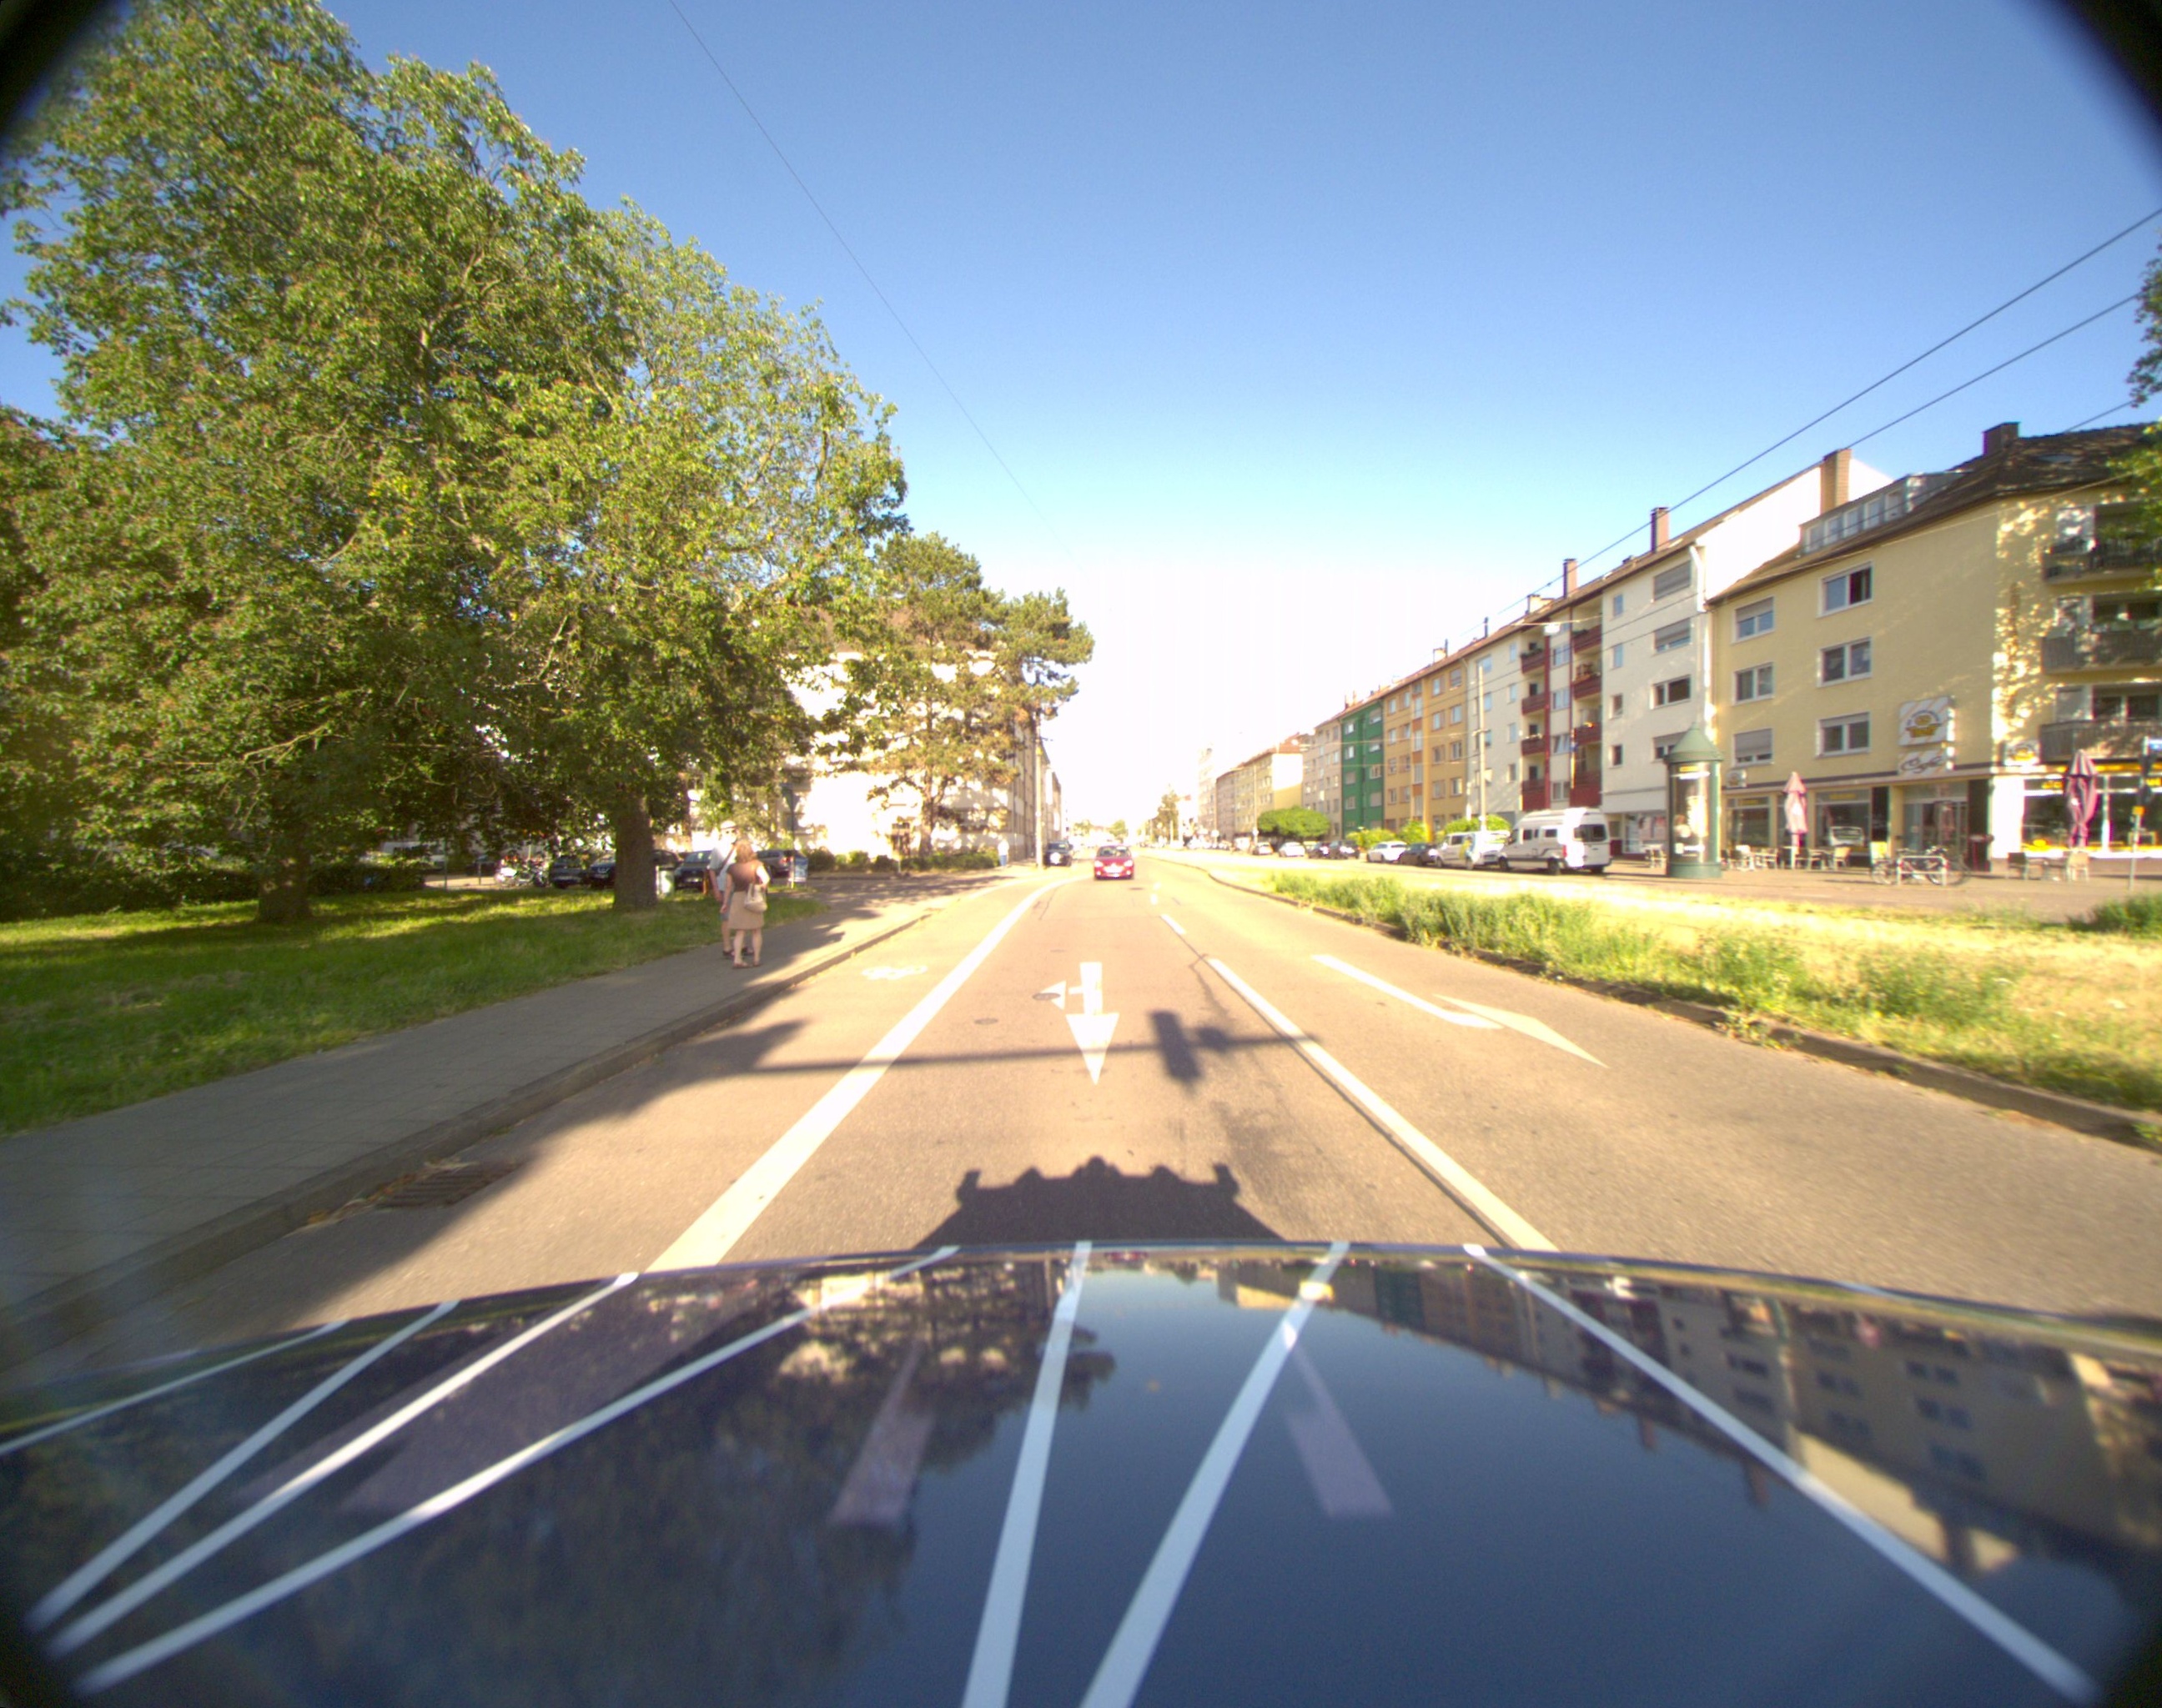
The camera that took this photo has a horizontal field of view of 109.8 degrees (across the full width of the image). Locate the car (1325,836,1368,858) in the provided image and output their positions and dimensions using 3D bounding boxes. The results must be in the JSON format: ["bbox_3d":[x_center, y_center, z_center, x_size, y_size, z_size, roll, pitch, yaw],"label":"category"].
[{"bbox_3d":[21.626,-0.572,62.031,1.998,1.598,4.150,-3,1,1],"label":"car"}]

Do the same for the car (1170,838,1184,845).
[{"bbox_3d":[19.489,-2.600,154.528,1.839,1.377,4.412,0,1,-6],"label":"car"}]

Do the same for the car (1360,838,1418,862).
[{"bbox_3d":[21.242,-0.285,52.609,1.897,1.483,4.701,-3,1,-1],"label":"car"}]

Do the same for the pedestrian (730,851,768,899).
[{"bbox_3d":[-8.815,0.560,20.169,0.403,1.219,0.762,-3,2,27],"label":"pedestrian"}]

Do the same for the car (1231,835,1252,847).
[{"bbox_3d":[26.625,-2.162,126.557,1.999,1.938,5.498,-3,1,-3],"label":"car"}]

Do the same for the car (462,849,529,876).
[{"bbox_3d":[-39.568,0.564,51.375,3.991,1.602,1.802,-3,1,24],"label":"car"}]

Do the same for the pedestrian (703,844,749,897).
[{"bbox_3d":[-9.497,0.432,20.342,0.685,1.365,0.756,-3,2,27],"label":"pedestrian"}]

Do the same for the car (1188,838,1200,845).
[{"bbox_3d":[22.535,-2.558,151.692,1.698,1.440,4.216,0,1,1],"label":"car"}]

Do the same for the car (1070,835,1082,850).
[{"bbox_3d":[-0.842,-2.109,142.514,2.156,2.681,6.290,1,1,0],"label":"car"}]

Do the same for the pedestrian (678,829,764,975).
[{"bbox_3d":[-4.581,0.592,9.710,0.704,1.779,0.694,2,1,6],"label":"pedestrian"}]

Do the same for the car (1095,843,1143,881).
[{"bbox_3d":[1.523,0.289,31.397,1.862,1.462,3.808,0,1,1],"label":"car"}]

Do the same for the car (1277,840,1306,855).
[{"bbox_3d":[21.472,-0.717,77.619,1.733,1.446,4.375,-2,1,1],"label":"car"}]

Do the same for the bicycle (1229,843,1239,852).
[{"bbox_3d":[19.375,-0.864,95.999,0.770,1.140,2.474,1,1,1],"label":"bicycle"}]

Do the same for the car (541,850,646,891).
[{"bbox_3d":[-18.869,0.599,29.626,1.640,1.432,4.238,0,1,-5],"label":"car"}]

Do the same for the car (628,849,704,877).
[{"bbox_3d":[-23.449,0.479,42.942,3.902,1.461,1.772,1,1,24],"label":"car"}]

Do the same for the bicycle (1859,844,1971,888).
[{"bbox_3d":[23.926,0.325,21.848,0.520,1.177,2.084,-4,3,-33],"label":"bicycle"}]

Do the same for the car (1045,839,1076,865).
[{"bbox_3d":[-1.407,-0.166,54.192,1.883,1.707,4.933,2,1,1],"label":"car"}]

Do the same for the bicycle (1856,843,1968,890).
[{"bbox_3d":[23.483,0.320,21.519,0.520,1.245,2.084,-4,3,-33],"label":"bicycle"}]

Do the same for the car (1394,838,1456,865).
[{"bbox_3d":[21.201,-0.179,46.991,1.699,1.506,4.324,-2,1,-2],"label":"car"}]

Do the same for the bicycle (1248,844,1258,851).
[{"bbox_3d":[21.866,-0.855,96.614,0.377,0.861,2.052,-4,1,-11],"label":"bicycle"}]

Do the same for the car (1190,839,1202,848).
[{"bbox_3d":[26.991,-2.523,178.867,1.999,1.887,4.668,-3,1,-2],"label":"car"}]

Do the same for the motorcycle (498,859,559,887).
[{"bbox_3d":[-21.850,0.744,30.082,1.785,1.066,0.713,1,0,-16],"label":"motorcycle"}]

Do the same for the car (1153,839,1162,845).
[{"bbox_3d":[18.662,-2.952,185.298,1.617,1.550,3.999,1,1,0],"label":"car"}]

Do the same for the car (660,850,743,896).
[{"bbox_3d":[-13.384,0.607,27.041,1.641,1.486,3.804,0,1,-11],"label":"car"}]

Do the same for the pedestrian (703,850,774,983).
[{"bbox_3d":[-4.095,0.727,9.121,0.530,1.520,0.627,1,2,6],"label":"pedestrian"}]

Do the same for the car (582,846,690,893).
[{"bbox_3d":[-16.052,0.512,27.641,1.455,1.563,3.809,0,1,4],"label":"car"}]

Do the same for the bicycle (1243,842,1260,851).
[{"bbox_3d":[22.696,-0.944,101.264,2.052,1.086,0.616,-3,2,6],"label":"bicycle"}]

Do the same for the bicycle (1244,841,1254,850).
[{"bbox_3d":[21.310,-1.039,96.494,0.511,1.086,1.934,-4,1,-11],"label":"bicycle"}]

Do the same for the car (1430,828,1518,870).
[{"bbox_3d":[21.179,-0.296,41.236,2.037,2.009,5.369,-3,1,2],"label":"car"}]

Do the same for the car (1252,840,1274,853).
[{"bbox_3d":[21.692,-0.927,90.652,1.640,1.434,3.733,-3,1,-2],"label":"car"}]

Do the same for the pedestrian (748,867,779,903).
[{"bbox_3d":[-8.354,0.814,20.002,0.403,0.929,0.624,-3,0,27],"label":"pedestrian"}]

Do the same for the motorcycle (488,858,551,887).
[{"bbox_3d":[-21.657,0.729,29.328,1.785,1.066,0.713,1,0,-16],"label":"motorcycle"}]

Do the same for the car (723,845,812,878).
[{"bbox_3d":[-16.331,0.364,39.590,4.294,1.494,1.771,1,5,24],"label":"car"}]

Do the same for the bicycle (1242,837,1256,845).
[{"bbox_3d":[27.056,-2.139,122.249,2.103,1.099,0.472,-3,2,1],"label":"bicycle"}]

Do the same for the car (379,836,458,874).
[{"bbox_3d":[-48.370,0.056,55.449,5.306,2.429,2.129,-3,2,24],"label":"car"}]

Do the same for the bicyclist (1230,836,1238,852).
[{"bbox_3d":[19.365,-1.311,96.140,0.775,2.002,0.648,-3,2,1],"label":"bicyclist"}]

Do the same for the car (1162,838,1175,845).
[{"bbox_3d":[18.647,-2.644,162.243,1.788,1.519,4.412,0,1,-5],"label":"car"}]

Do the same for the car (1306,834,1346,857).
[{"bbox_3d":[21.559,-0.792,67.069,1.998,1.827,4.608,-3,1,1],"label":"car"}]

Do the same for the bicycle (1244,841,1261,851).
[{"bbox_3d":[22.256,-1.039,98.864,2.052,1.086,0.616,-3,2,6],"label":"bicycle"}]

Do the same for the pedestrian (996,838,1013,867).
[{"bbox_3d":[-4.619,-0.103,45.769,0.882,1.712,0.725,0,1,6],"label":"pedestrian"}]

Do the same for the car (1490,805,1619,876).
[{"bbox_3d":[21.122,-0.628,34.292,2.037,2.852,6.227,-2,1,2],"label":"car"}]
